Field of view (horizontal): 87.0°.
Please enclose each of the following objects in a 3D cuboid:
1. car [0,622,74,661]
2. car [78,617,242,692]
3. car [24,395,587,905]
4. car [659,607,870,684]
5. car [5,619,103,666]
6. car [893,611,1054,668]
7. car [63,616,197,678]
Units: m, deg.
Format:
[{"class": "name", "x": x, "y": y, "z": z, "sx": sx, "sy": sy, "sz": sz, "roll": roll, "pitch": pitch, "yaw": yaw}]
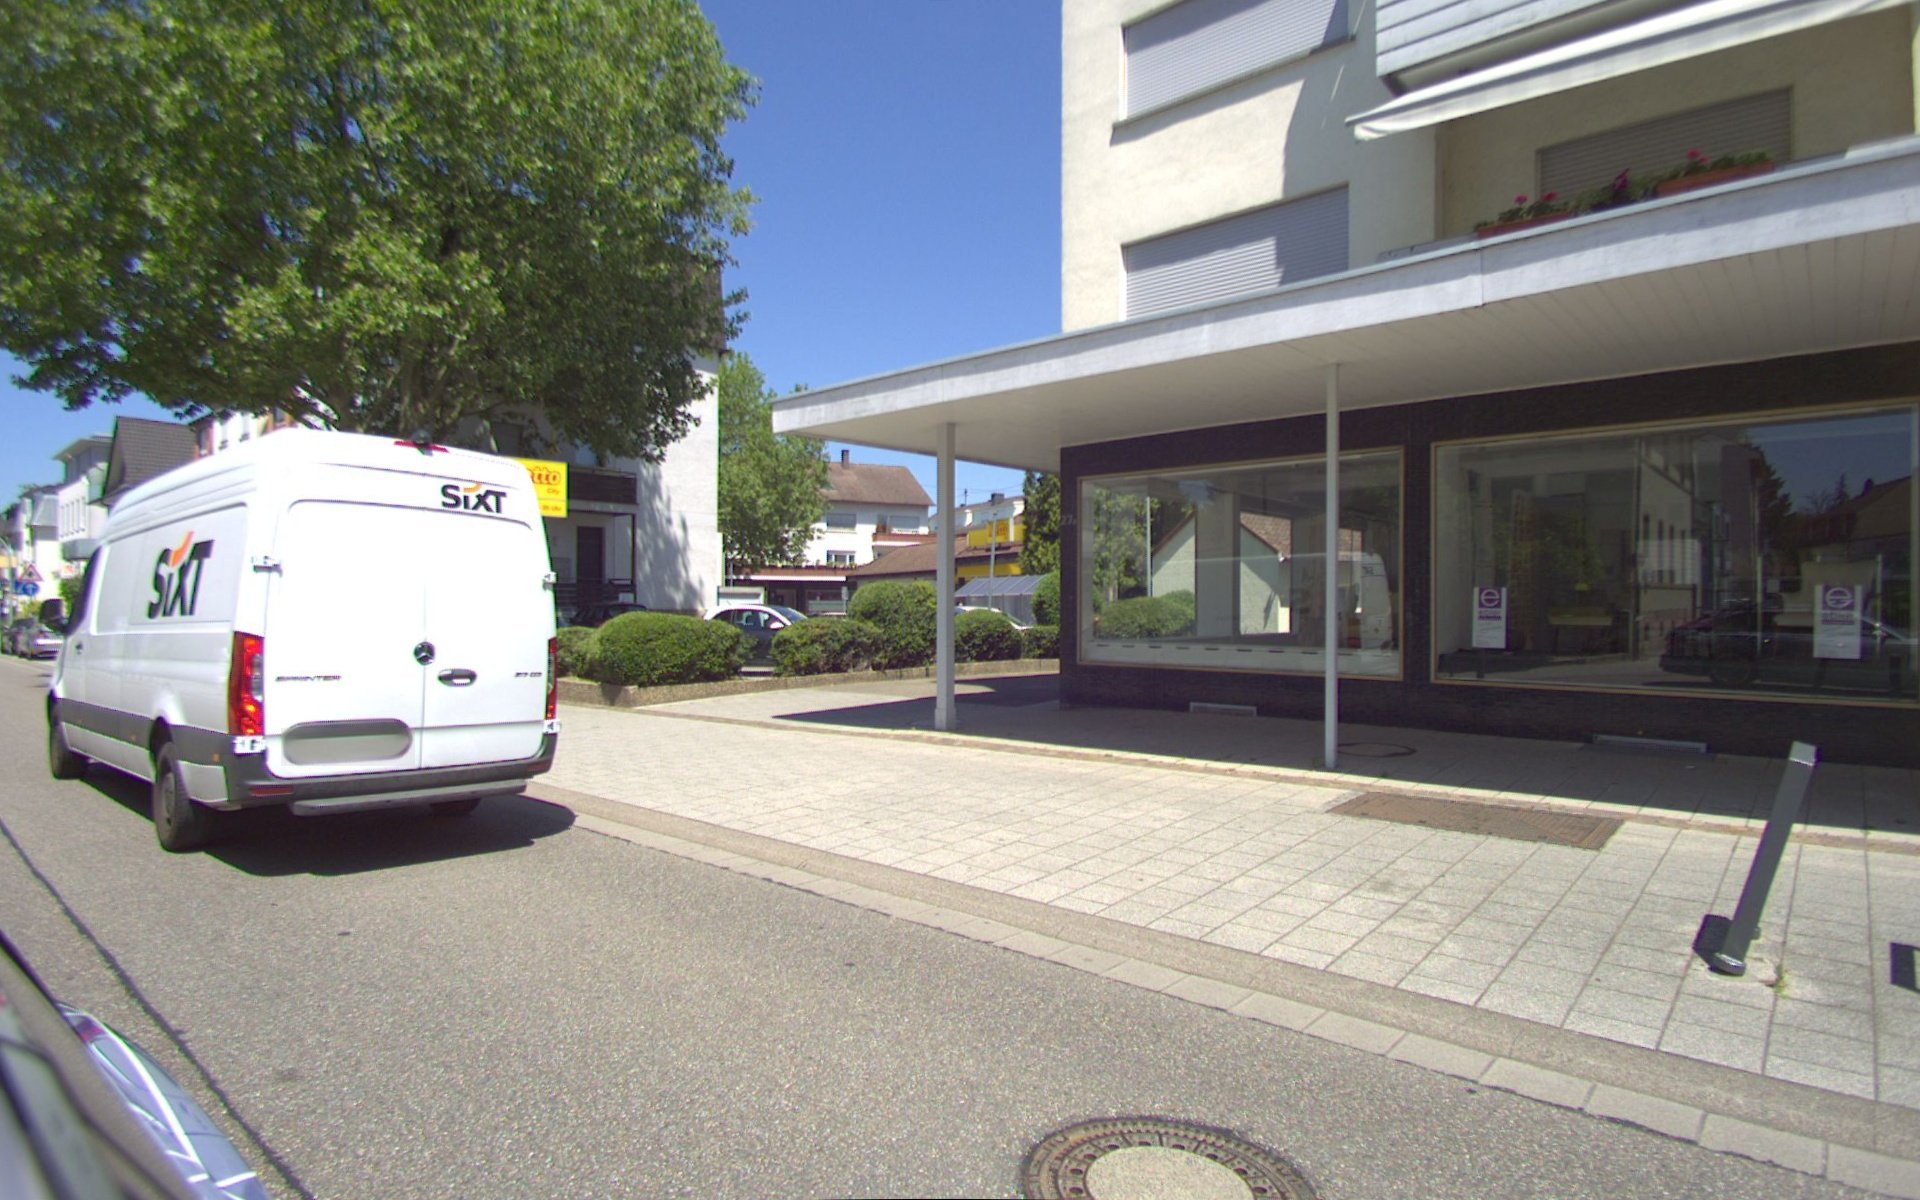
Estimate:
[{"class": "car", "x": -35.600, "y": 1.549, "z": 38.775, "sx": 5.097, "sy": 1.384, "sz": 1.921, "roll": -1, "pitch": -1, "yaw": 42}, {"class": "car", "x": -18.107, "y": 1.147, "z": 22.814, "sx": 5.147, "sy": 1.463, "sz": 1.961, "roll": -1, "pitch": 0, "yaw": 41}, {"class": "car", "x": -5.850, "y": 0.343, "z": 8.381, "sx": 7.104, "sy": 2.650, "sz": 2.015, "roll": -1, "pitch": -3, "yaw": 41}, {"class": "car", "x": -4.039, "y": 0.921, "z": 21.183, "sx": 3.953, "sy": 1.498, "sz": 1.890, "roll": -1, "pitch": -1, "yaw": 11}, {"class": "car", "x": -31.105, "y": 1.403, "z": 34.701, "sx": 5.356, "sy": 1.463, "sz": 1.960, "roll": -1, "pitch": 0, "yaw": 42}, {"class": "car", "x": 0.372, "y": 1.055, "z": 26.977, "sx": 4.000, "sy": 1.445, "sz": 1.767, "roll": -1, "pitch": -2, "yaw": 16}, {"class": "car", "x": -22.238, "y": 1.195, "z": 27.040, "sx": 4.865, "sy": 1.463, "sz": 1.961, "roll": -1, "pitch": 0, "yaw": 41}]
